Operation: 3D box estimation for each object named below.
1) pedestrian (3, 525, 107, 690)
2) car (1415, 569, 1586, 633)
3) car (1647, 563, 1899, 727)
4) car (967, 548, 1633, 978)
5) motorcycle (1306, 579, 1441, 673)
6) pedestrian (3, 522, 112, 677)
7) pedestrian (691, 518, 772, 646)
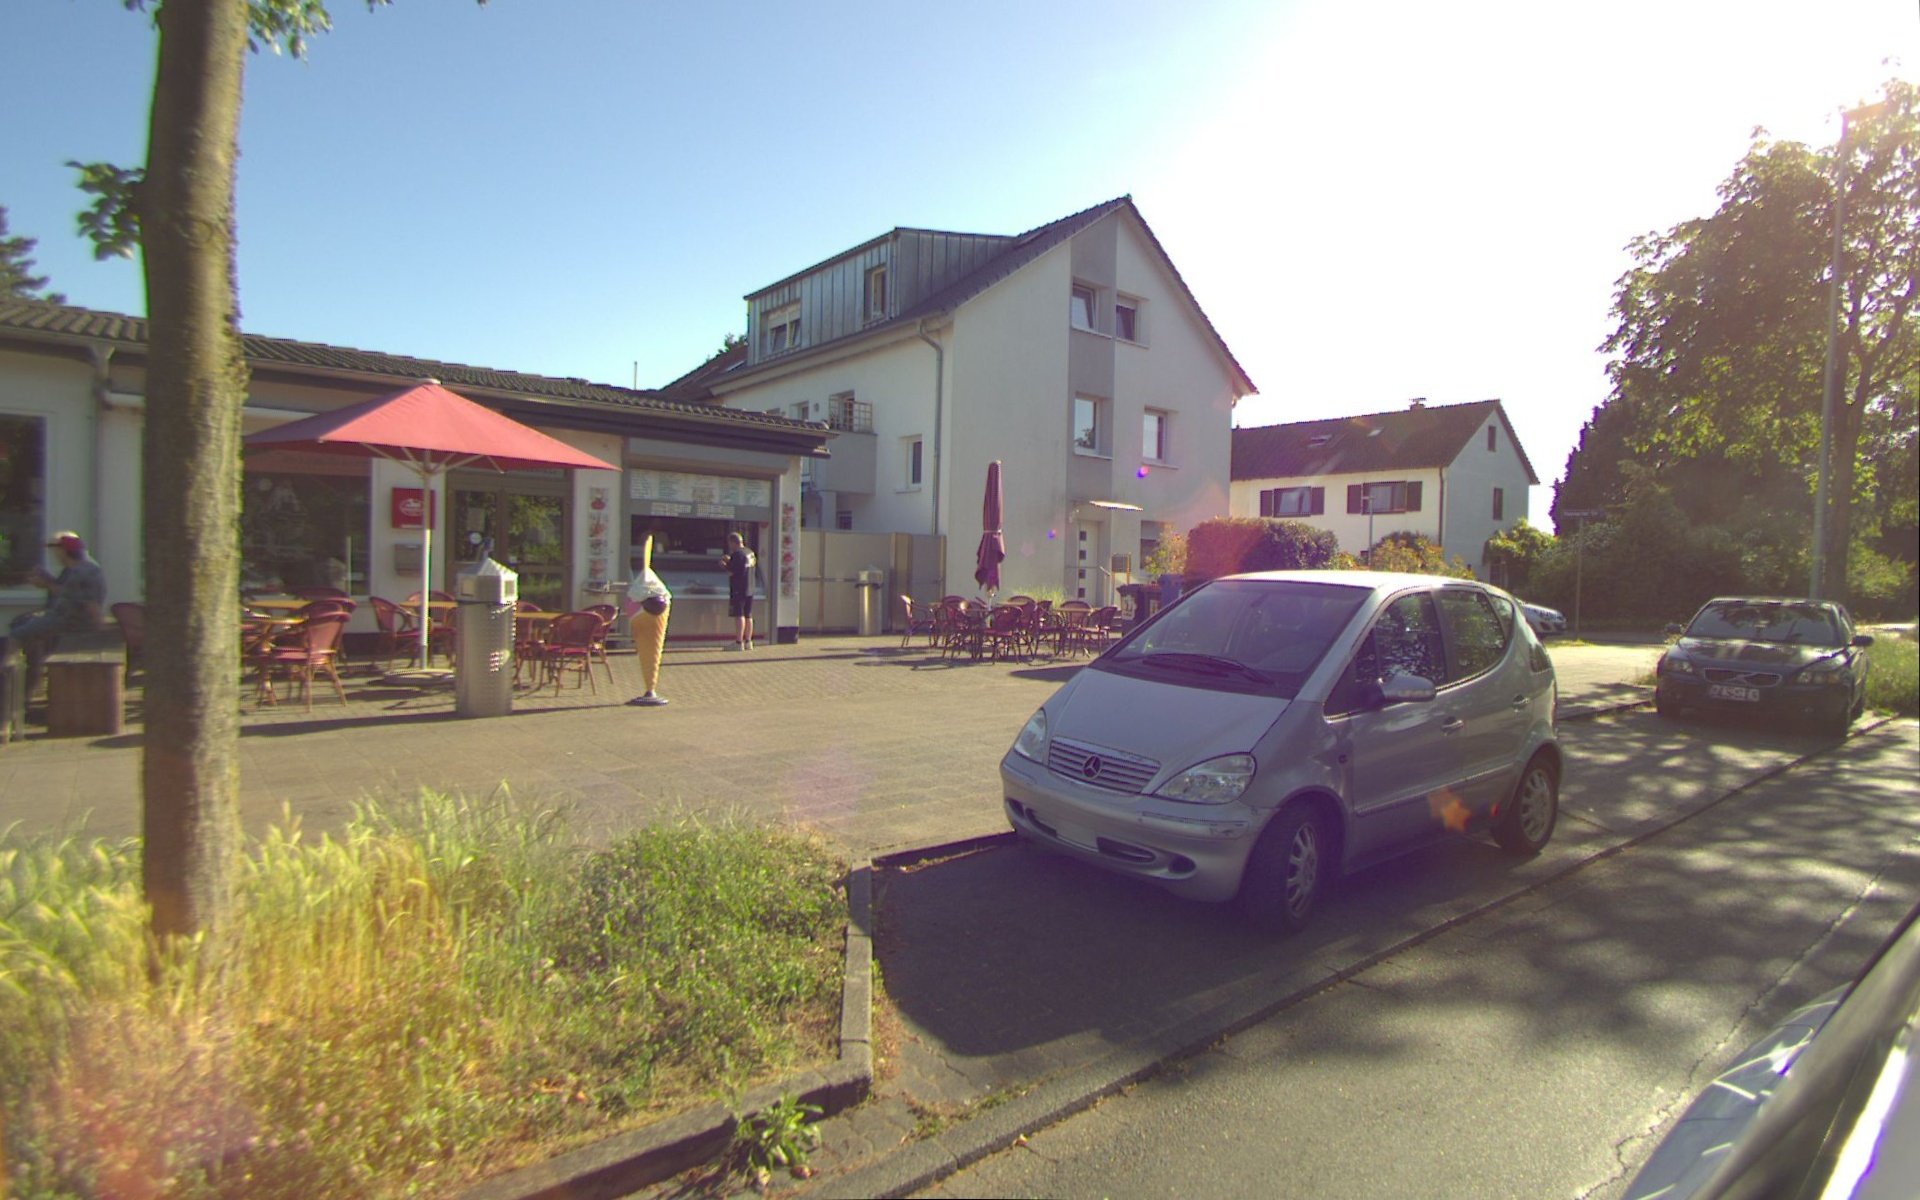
[{"bbox_3d":[-7.993,0.062,8.959,0.627,1.402,0.441,-1,0,-35],"label":"pedestrian"},{"bbox_3d":[15.390,-0.027,28.936,3.989,1.660,1.748,3,2,45],"label":"car"},{"bbox_3d":[10.050,0.450,12.382,1.993,1.643,4.312,-2,-1,44],"label":"car"},{"bbox_3d":[2.217,0.606,5.881,4.304,1.643,1.613,-1,-1,-40],"label":"car"},{"bbox_3d":[6.082,0.341,14.810,2.310,1.242,0.819,0,3,-41],"label":"motorcycle"},{"bbox_3d":[-8.584,-0.021,9.650,0.483,1.426,0.666,1,3,-11],"label":"pedestrian"},{"bbox_3d":[-3.363,-0.269,14.879,0.820,1.800,0.828,1,1,39],"label":"pedestrian"}]
